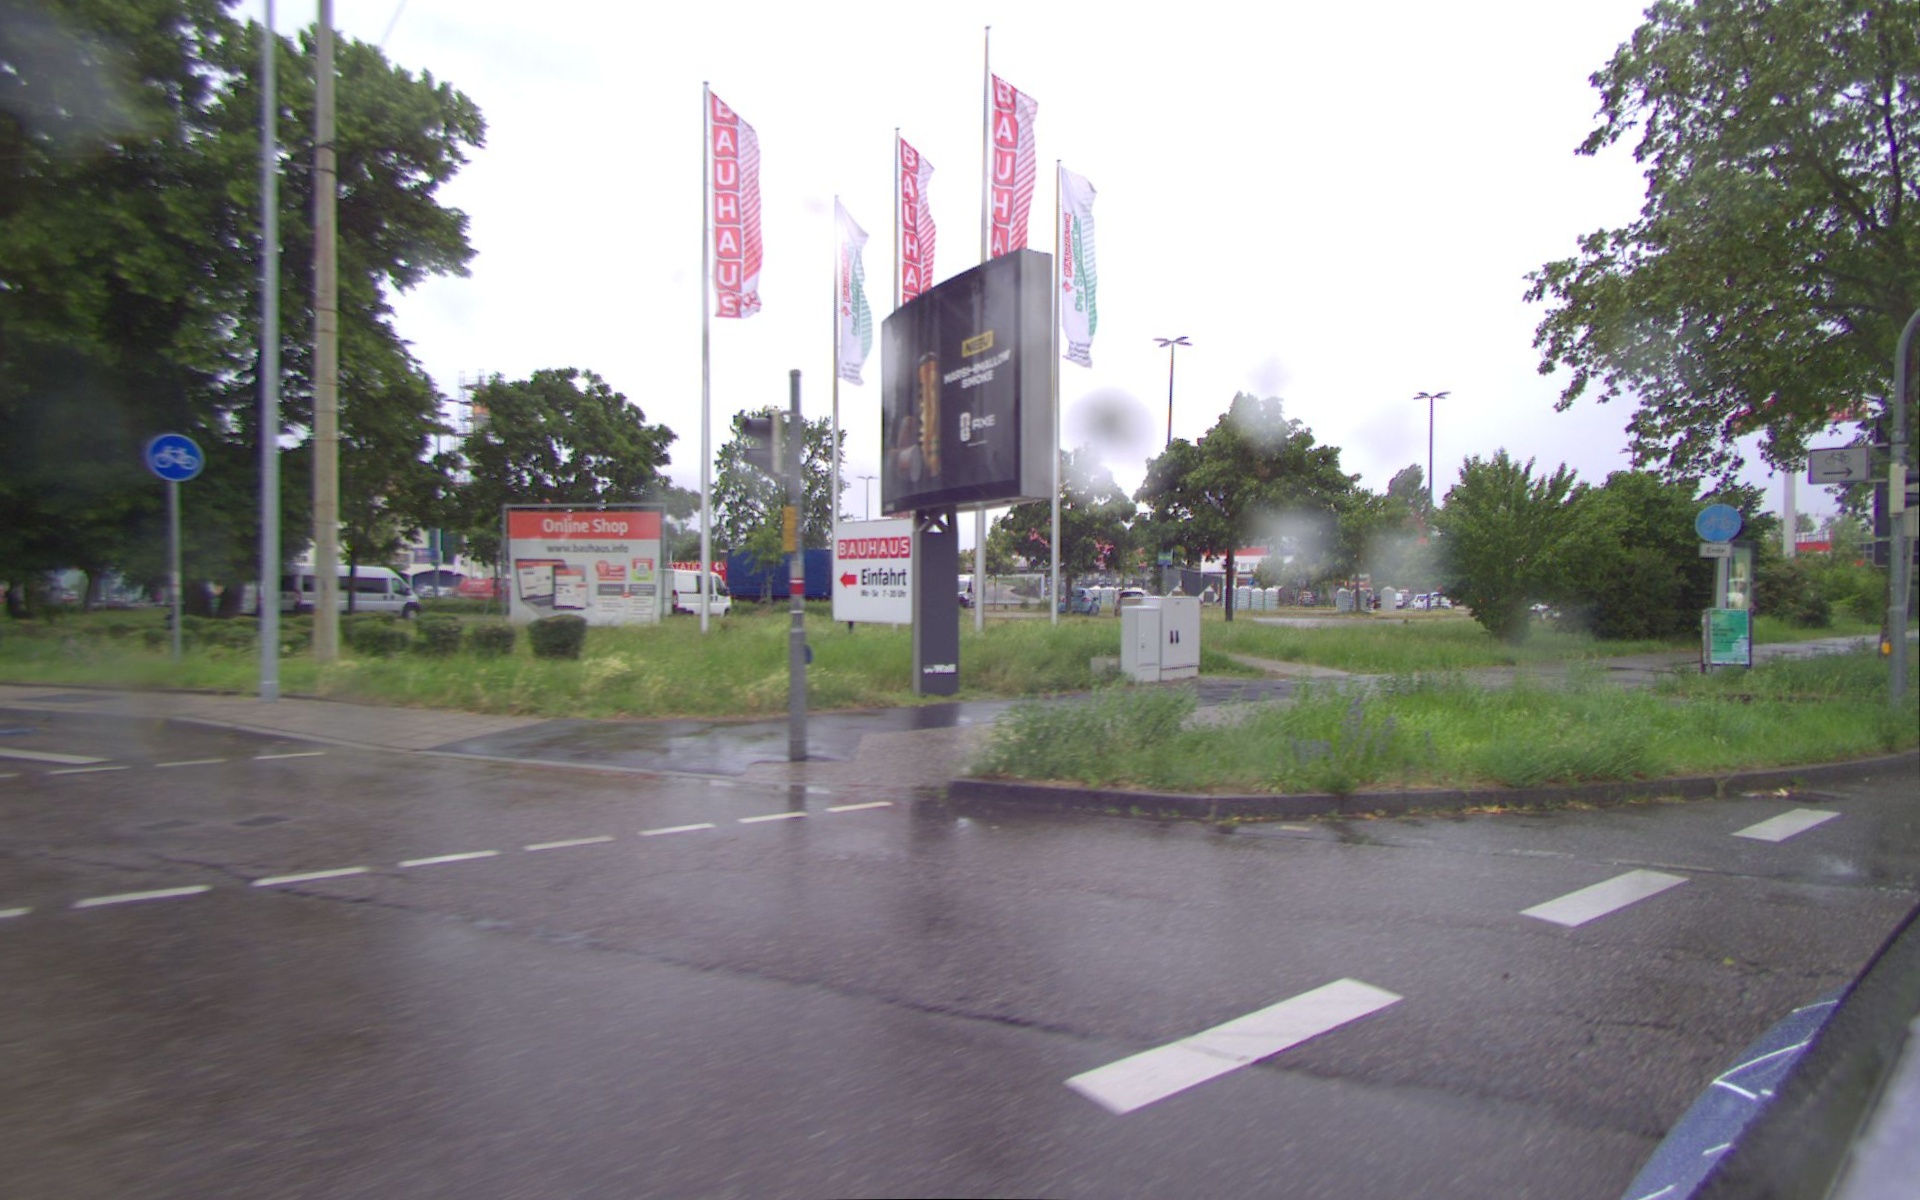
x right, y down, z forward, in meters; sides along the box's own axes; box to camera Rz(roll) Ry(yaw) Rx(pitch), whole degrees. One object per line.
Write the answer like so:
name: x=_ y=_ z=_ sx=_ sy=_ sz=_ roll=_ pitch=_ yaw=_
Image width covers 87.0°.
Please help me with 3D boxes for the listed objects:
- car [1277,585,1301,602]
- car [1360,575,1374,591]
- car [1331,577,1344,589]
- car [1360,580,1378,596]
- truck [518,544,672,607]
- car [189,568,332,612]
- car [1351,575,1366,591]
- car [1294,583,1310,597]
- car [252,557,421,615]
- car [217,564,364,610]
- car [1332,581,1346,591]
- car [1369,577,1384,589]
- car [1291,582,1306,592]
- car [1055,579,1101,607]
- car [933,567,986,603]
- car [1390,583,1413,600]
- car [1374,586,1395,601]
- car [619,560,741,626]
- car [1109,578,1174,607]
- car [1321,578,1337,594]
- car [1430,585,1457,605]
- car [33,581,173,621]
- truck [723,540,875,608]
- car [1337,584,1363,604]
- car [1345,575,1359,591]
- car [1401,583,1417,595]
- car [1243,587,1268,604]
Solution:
car: x=32.220 y=-0.612 z=98.955 sx=1.908 sy=1.572 sz=4.241 roll=0 pitch=1 yaw=23
car: x=66.894 y=-2.833 z=166.314 sx=1.909 sy=2.510 sz=4.238 roll=0 pitch=1 yaw=25
car: x=67.948 y=-2.998 z=182.016 sx=1.909 sy=2.129 sz=4.238 roll=0 pitch=1 yaw=25
car: x=51.218 y=-1.487 z=126.765 sx=1.909 sy=1.921 sz=4.710 roll=0 pitch=1 yaw=25
truck: x=-21.862 y=-1.368 z=60.486 sx=9.285 sy=3.514 sz=2.535 roll=-1 pitch=-1 yaw=21
car: x=-31.357 y=-0.479 z=45.573 sx=2.165 sy=1.859 sz=5.002 roll=0 pitch=1 yaw=20
car: x=63.413 y=-2.739 z=160.942 sx=1.909 sy=2.510 sz=4.238 roll=0 pitch=1 yaw=25
car: x=44.240 y=-1.288 z=130.976 sx=1.976 sy=1.698 sz=4.249 roll=0 pitch=1 yaw=18
car: x=-25.926 y=-0.601 z=42.422 sx=2.164 sy=2.231 sz=6.026 roll=0 pitch=1 yaw=20
car: x=-28.680 y=-0.576 z=43.543 sx=2.165 sy=1.859 sz=5.002 roll=0 pitch=1 yaw=20
car: x=62.927 y=-2.288 z=168.175 sx=1.909 sy=1.572 sz=4.238 roll=0 pitch=1 yaw=25
car: x=61.204 y=-2.502 z=148.553 sx=1.909 sy=1.748 sz=4.238 roll=0 pitch=1 yaw=25
car: x=57.290 y=-2.249 z=171.181 sx=1.909 sy=1.667 sz=4.238 roll=0 pitch=1 yaw=25
car: x=5.878 y=-0.373 z=50.070 sx=1.841 sy=1.309 sz=4.034 roll=0 pitch=1 yaw=13
car: x=0.034 y=-1.037 z=70.241 sx=2.298 sy=2.390 sz=5.490 roll=0 pitch=1 yaw=16
car: x=41.305 y=-0.787 z=94.614 sx=1.909 sy=1.572 sz=4.238 roll=0 pitch=1 yaw=25
car: x=46.400 y=-0.686 z=110.587 sx=1.909 sy=1.572 sz=4.238 roll=0 pitch=1 yaw=25
car: x=-10.192 y=-0.289 z=37.311 sx=2.159 sy=2.231 sz=5.081 roll=0 pitch=1 yaw=14
car: x=8.695 y=-0.390 z=48.250 sx=1.853 sy=1.309 sz=4.007 roll=1 pitch=1 yaw=30
car: x=54.533 y=-2.110 z=149.581 sx=1.909 sy=2.408 sz=4.238 roll=0 pitch=1 yaw=25
car: x=39.621 y=-0.416 z=83.027 sx=1.909 sy=1.572 sz=4.238 roll=0 pitch=1 yaw=25
car: x=-42.997 y=-0.004 z=50.953 sx=2.165 sy=1.859 sz=5.002 roll=0 pitch=1 yaw=20
truck: x=-8.752 y=-1.374 z=55.046 sx=7.912 sy=3.514 sz=2.537 roll=0 pitch=-1 yaw=19
car: x=31.705 y=-0.497 z=82.373 sx=1.906 sy=1.572 sz=4.246 roll=0 pitch=1 yaw=20
car: x=64.807 y=-2.851 z=167.242 sx=1.909 sy=2.510 sz=4.238 roll=0 pitch=1 yaw=25
car: x=60.222 y=-1.511 z=135.782 sx=1.909 sy=1.572 sz=4.238 roll=0 pitch=1 yaw=25
car: x=29.077 y=-0.443 z=99.641 sx=1.908 sy=1.572 sz=4.241 roll=0 pitch=1 yaw=23
